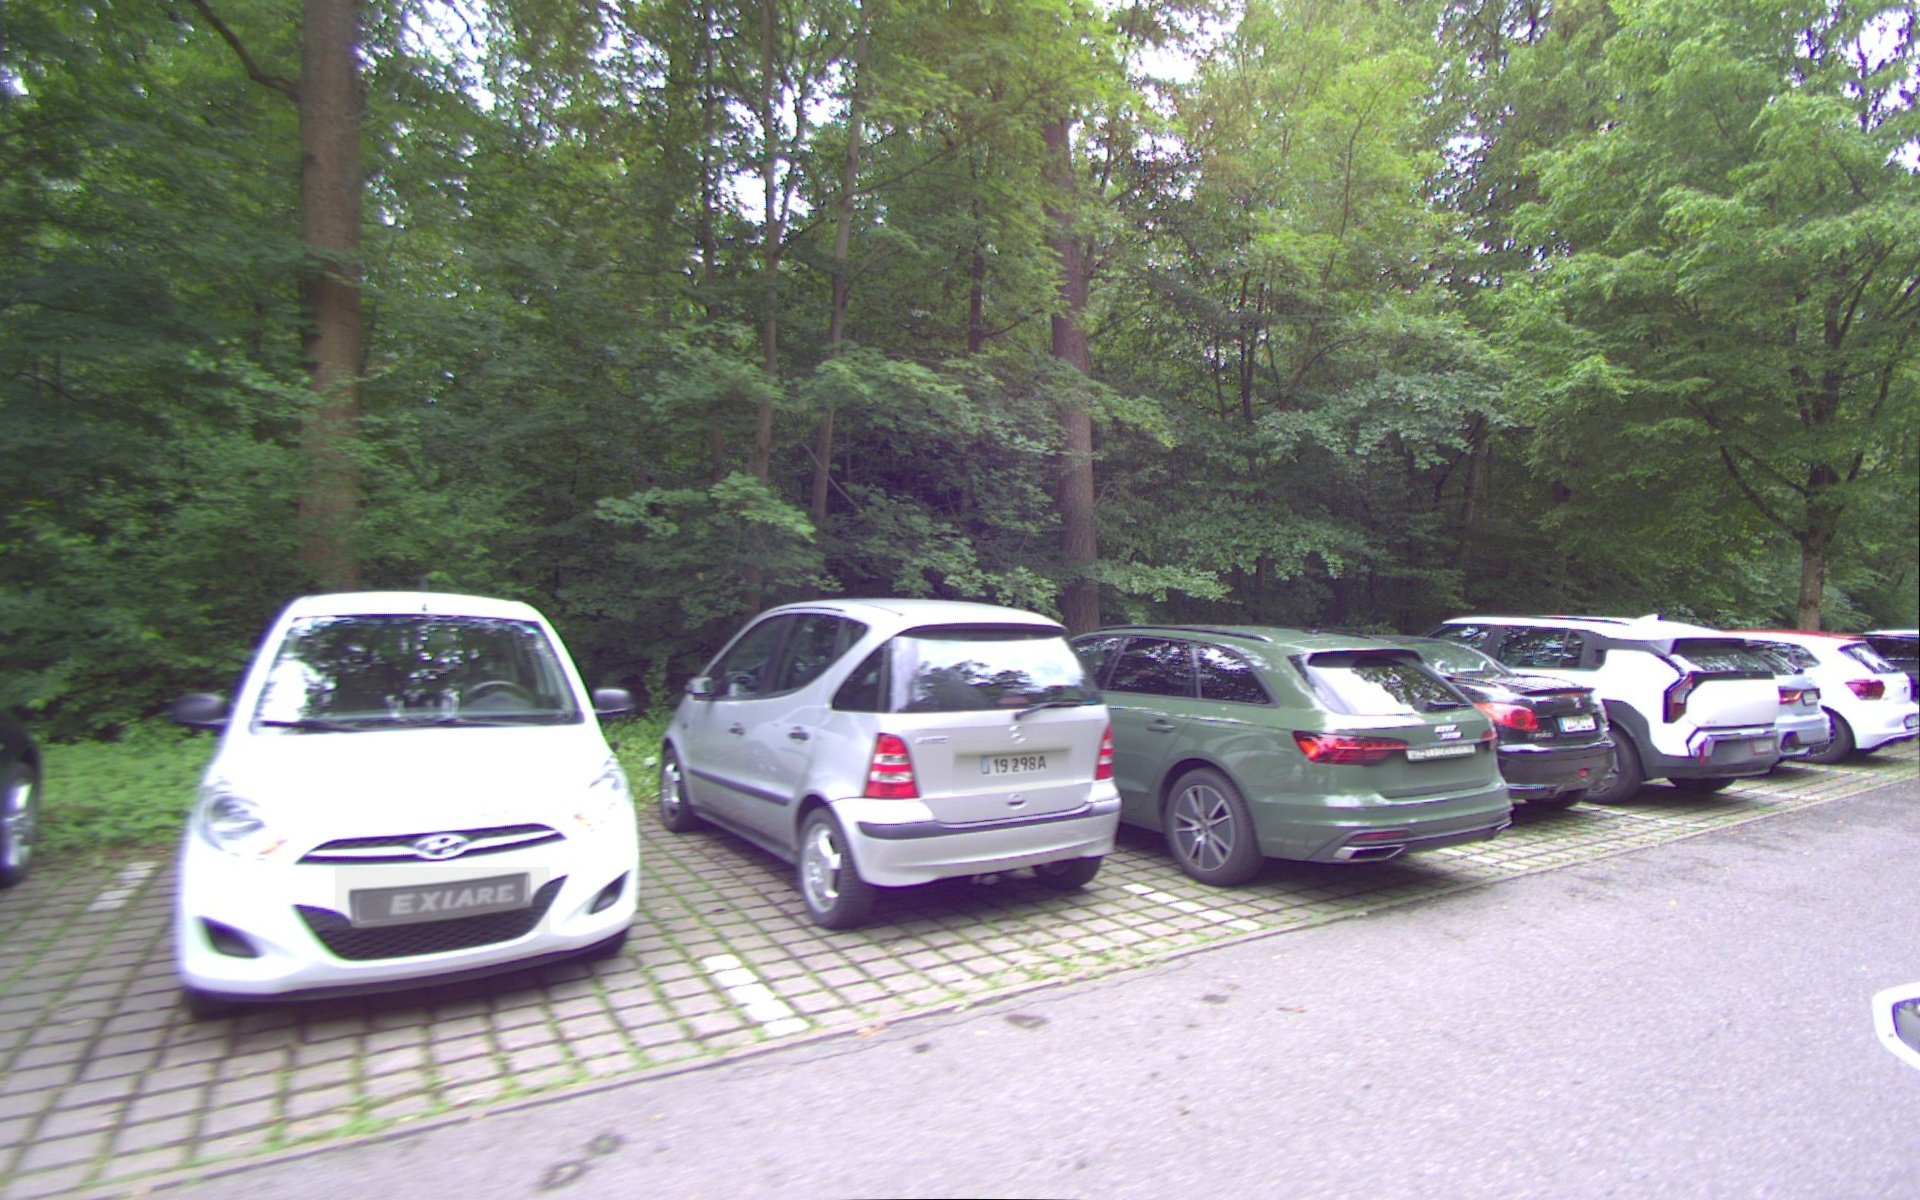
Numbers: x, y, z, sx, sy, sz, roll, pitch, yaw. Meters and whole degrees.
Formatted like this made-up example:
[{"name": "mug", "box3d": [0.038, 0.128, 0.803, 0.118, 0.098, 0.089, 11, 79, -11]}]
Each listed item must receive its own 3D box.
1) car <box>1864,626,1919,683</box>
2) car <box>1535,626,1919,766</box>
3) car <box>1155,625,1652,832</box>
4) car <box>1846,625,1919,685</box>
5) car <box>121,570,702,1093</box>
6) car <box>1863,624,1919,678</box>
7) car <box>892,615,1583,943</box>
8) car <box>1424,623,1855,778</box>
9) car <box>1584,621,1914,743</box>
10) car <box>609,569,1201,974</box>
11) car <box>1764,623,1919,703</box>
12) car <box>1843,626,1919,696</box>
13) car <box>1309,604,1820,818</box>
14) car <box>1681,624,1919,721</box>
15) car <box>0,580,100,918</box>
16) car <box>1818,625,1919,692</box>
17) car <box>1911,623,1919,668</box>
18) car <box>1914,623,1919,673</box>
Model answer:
[{"name": "car", "box3d": [27.039, 1.482, 26.509, 1.854, 1.506, 4.526, 1, -1, -39]}, {"name": "car", "box3d": [9.672, 1.079, 12.753, 1.852, 1.438, 3.704, 1, -1, -34]}, {"name": "car", "box3d": [3.696, 0.941, 8.983, 1.711, 1.374, 3.767, 1, -1, -33]}, {"name": "car", "box3d": [25.227, 1.412, 25.051, 2.071, 1.466, 4.520, 1, -1, -43]}, {"name": "car", "box3d": [-2.864, 0.720, 5.253, 1.743, 1.554, 4.210, 1, -1, -32]}, {"name": "car", "box3d": [30.029, 1.571, 30.186, 1.835, 1.571, 4.192, 1, -1, -44]}, {"name": "car", "box3d": [1.506, 0.878, 7.190, 2.072, 1.497, 4.614, 1, -1, -32]}, {"name": "car", "box3d": [7.702, 1.012, 11.677, 1.880, 1.440, 3.774, 1, -1, -37]}, {"name": "car", "box3d": [11.262, 1.077, 14.531, 1.667, 1.500, 3.443, 1, -1, -34]}, {"name": "car", "box3d": [-0.704, 0.739, 6.456, 1.949, 1.669, 4.208, 1, -1, -34]}, {"name": "car", "box3d": [19.161, 1.260, 20.237, 2.037, 1.506, 4.237, 1, -1, -35]}, {"name": "car", "box3d": [21.379, 1.339, 21.738, 1.667, 1.463, 3.192, 1, -1, -40]}, {"name": "car", "box3d": [5.669, 0.895, 9.985, 1.971, 1.649, 3.948, 1, -1, -25]}, {"name": "car", "box3d": [15.252, 1.186, 17.158, 2.015, 1.443, 4.375, 1, -1, -35]}, {"name": "car", "box3d": [-4.972, 0.665, 3.587, 1.981, 1.550, 4.216, 1, -1, -28]}, {"name": "car", "box3d": [23.044, 1.389, 23.486, 1.877, 1.506, 4.327, 2, -1, -41]}, {"name": "car", "box3d": [36.066, 1.641, 34.726, 1.911, 1.605, 4.476, 1, -1, -40]}, {"name": "car", "box3d": [32.510, 1.564, 31.229, 1.905, 1.575, 3.998, 1, -1, -41]}]
